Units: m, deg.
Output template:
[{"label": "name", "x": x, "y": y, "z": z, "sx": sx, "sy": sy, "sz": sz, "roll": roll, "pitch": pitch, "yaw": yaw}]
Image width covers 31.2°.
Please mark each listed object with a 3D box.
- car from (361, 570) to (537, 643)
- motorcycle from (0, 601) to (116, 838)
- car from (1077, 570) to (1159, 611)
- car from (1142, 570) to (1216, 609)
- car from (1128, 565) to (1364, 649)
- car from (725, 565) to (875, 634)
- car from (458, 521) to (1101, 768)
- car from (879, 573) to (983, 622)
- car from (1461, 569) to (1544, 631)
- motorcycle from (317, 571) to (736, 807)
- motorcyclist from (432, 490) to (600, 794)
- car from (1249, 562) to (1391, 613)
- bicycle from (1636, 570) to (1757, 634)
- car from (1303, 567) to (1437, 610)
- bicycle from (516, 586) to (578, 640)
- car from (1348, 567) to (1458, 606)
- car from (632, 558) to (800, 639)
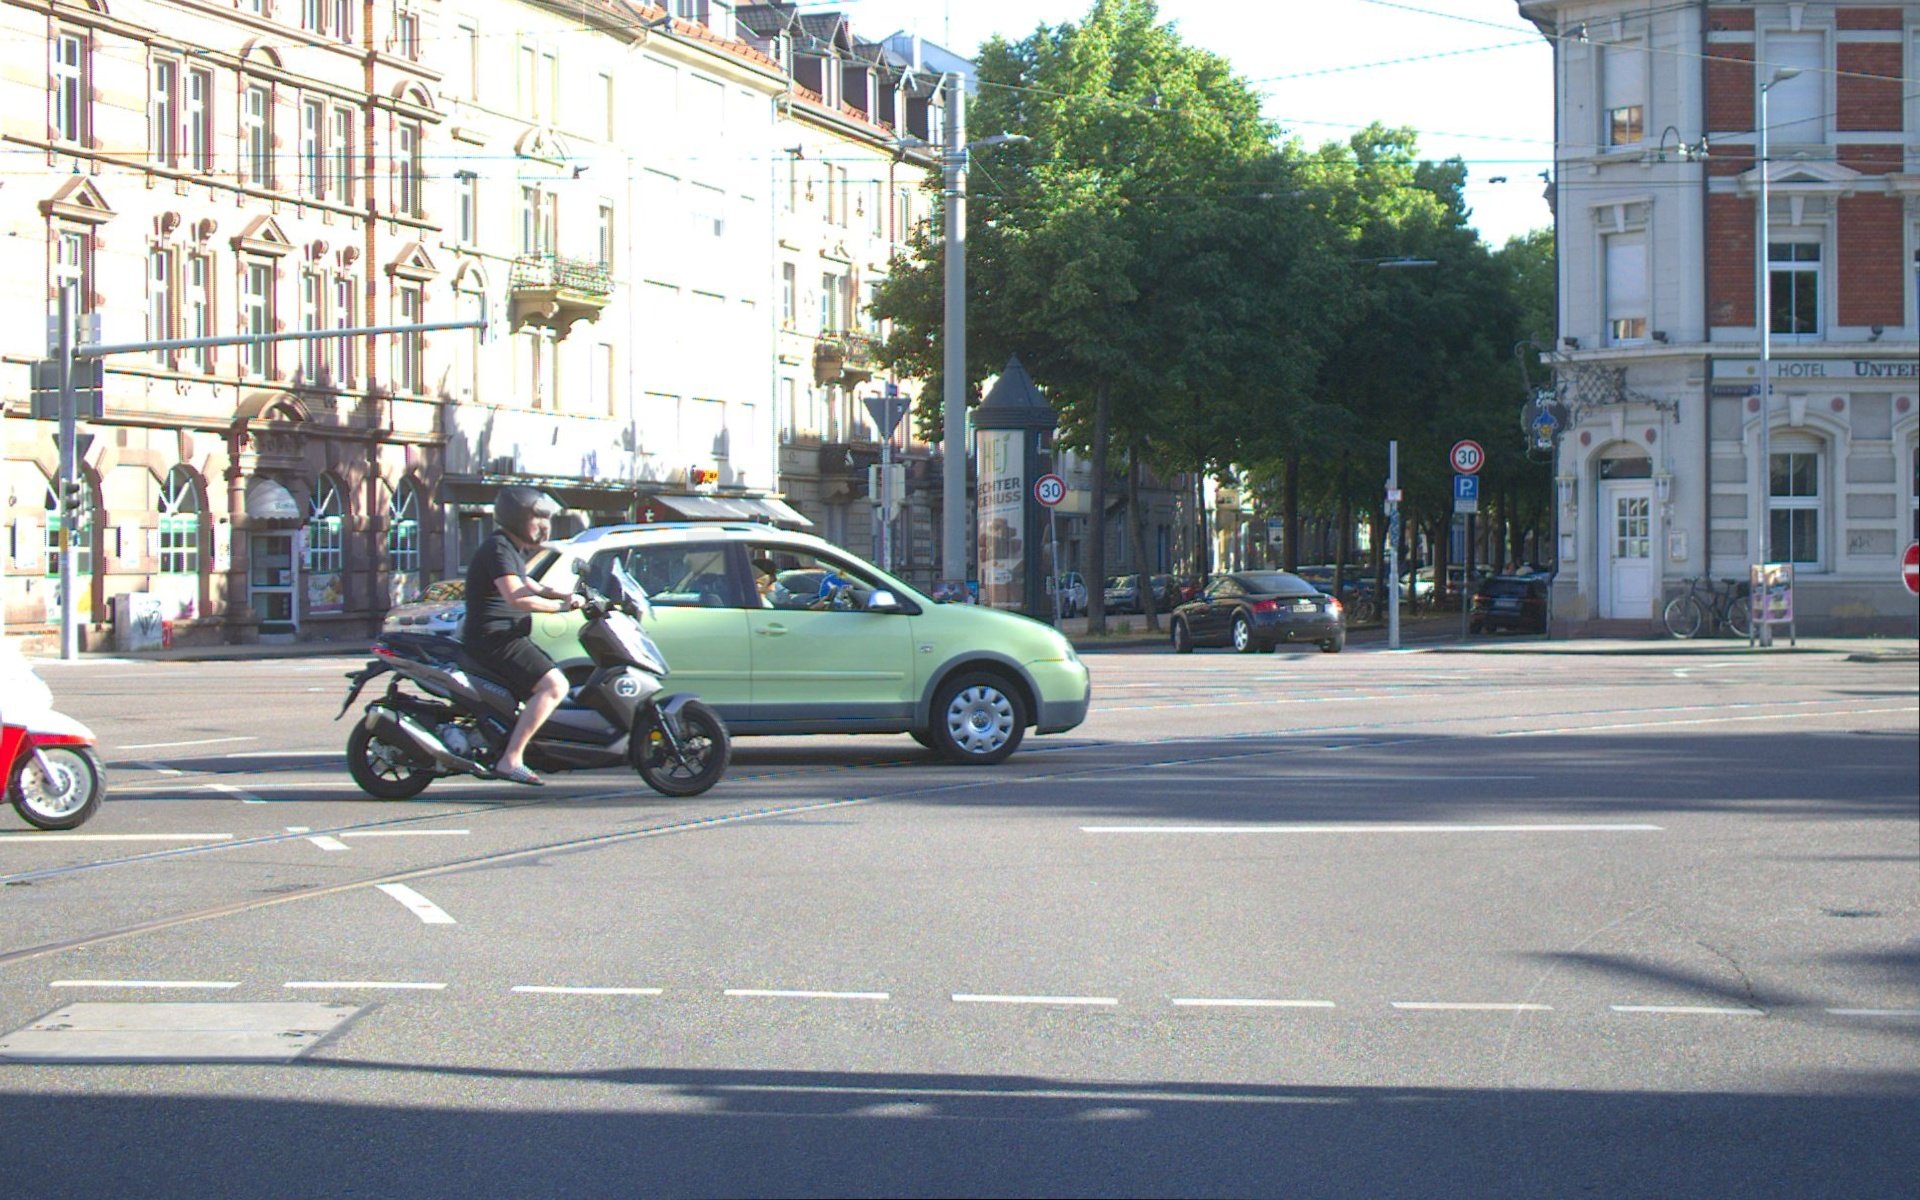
[{"label": "car", "x": -9.922, "y": 0.103, "z": 67.051, "sx": 1.995, "sy": 1.357, "sz": 3.816, "roll": 0, "pitch": 1, "yaw": 16}, {"label": "motorcycle", "x": -5.114, "y": 0.573, "z": 16.518, "sx": 2.025, "sy": 1.114, "sz": 0.505, "roll": 0, "pitch": 1, "yaw": -11}, {"label": "car", "x": 5.655, "y": -0.338, "z": 122.587, "sx": 1.995, "sy": 1.400, "sz": 4.166, "roll": 0, "pitch": 1, "yaw": 16}, {"label": "car", "x": 8.408, "y": -0.416, "z": 131.415, "sx": 1.995, "sy": 1.400, "sz": 4.166, "roll": 0, "pitch": 1, "yaw": 16}, {"label": "car", "x": 4.633, "y": 0.092, "z": 56.194, "sx": 1.717, "sy": 1.296, "sz": 4.073, "roll": -1, "pitch": 1, "yaw": -32}, {"label": "car", "x": -3.394, "y": -0.040, "z": 73.652, "sx": 1.995, "sy": 1.400, "sz": 4.166, "roll": 0, "pitch": 1, "yaw": 16}, {"label": "car", "x": -1.195, "y": 0.248, "z": 22.014, "sx": 3.954, "sy": 1.493, "sz": 1.742, "roll": 0, "pitch": 1, "yaw": -7}, {"label": "car", "x": -0.839, "y": -0.090, "z": 102.098, "sx": 1.995, "sy": 1.400, "sz": 4.166, "roll": 0, "pitch": 1, "yaw": 16}, {"label": "car", "x": 13.052, "y": -0.026, "z": 82.537, "sx": 1.756, "sy": 1.415, "sz": 3.998, "roll": 0, "pitch": 1, "yaw": 12}, {"label": "motorcycle", "x": -2.357, "y": 0.463, "z": 18.632, "sx": 2.204, "sy": 1.224, "sz": 0.695, "roll": 0, "pitch": 1, "yaw": -11}, {"label": "motorcyclist", "x": -2.426, "y": 0.224, "z": 18.735, "sx": 0.831, "sy": 1.615, "sz": 0.816, "roll": 1, "pitch": 0, "yaw": -12}, {"label": "car", "x": 10.451, "y": -0.362, "z": 99.693, "sx": 3.989, "sy": 1.450, "sz": 1.681, "roll": 0, "pitch": 1, "yaw": 11}, {"label": "bicycle", "x": 12.275, "y": 0.023, "z": 57.351, "sx": 1.953, "sy": 1.050, "sz": 0.715, "roll": 0, "pitch": 1, "yaw": 10}, {"label": "car", "x": 12.581, "y": -0.348, "z": 105.402, "sx": 3.989, "sy": 1.284, "sz": 1.694, "roll": 0, "pitch": 1, "yaw": 11}, {"label": "bicycle", "x": -7.842, "y": 0.233, "z": 65.308, "sx": 0.655, "sy": 0.997, "sz": 1.664, "roll": 1, "pitch": 1, "yaw": 12}, {"label": "car", "x": 14.366, "y": -0.429, "z": 111.475, "sx": 3.435, "sy": 1.235, "sz": 1.576, "roll": 0, "pitch": 1, "yaw": 11}, {"label": "car", "x": -4.746, "y": -0.053, "z": 67.478, "sx": 1.995, "sy": 1.511, "sz": 4.166, "roll": 0, "pitch": 1, "yaw": 16}]
